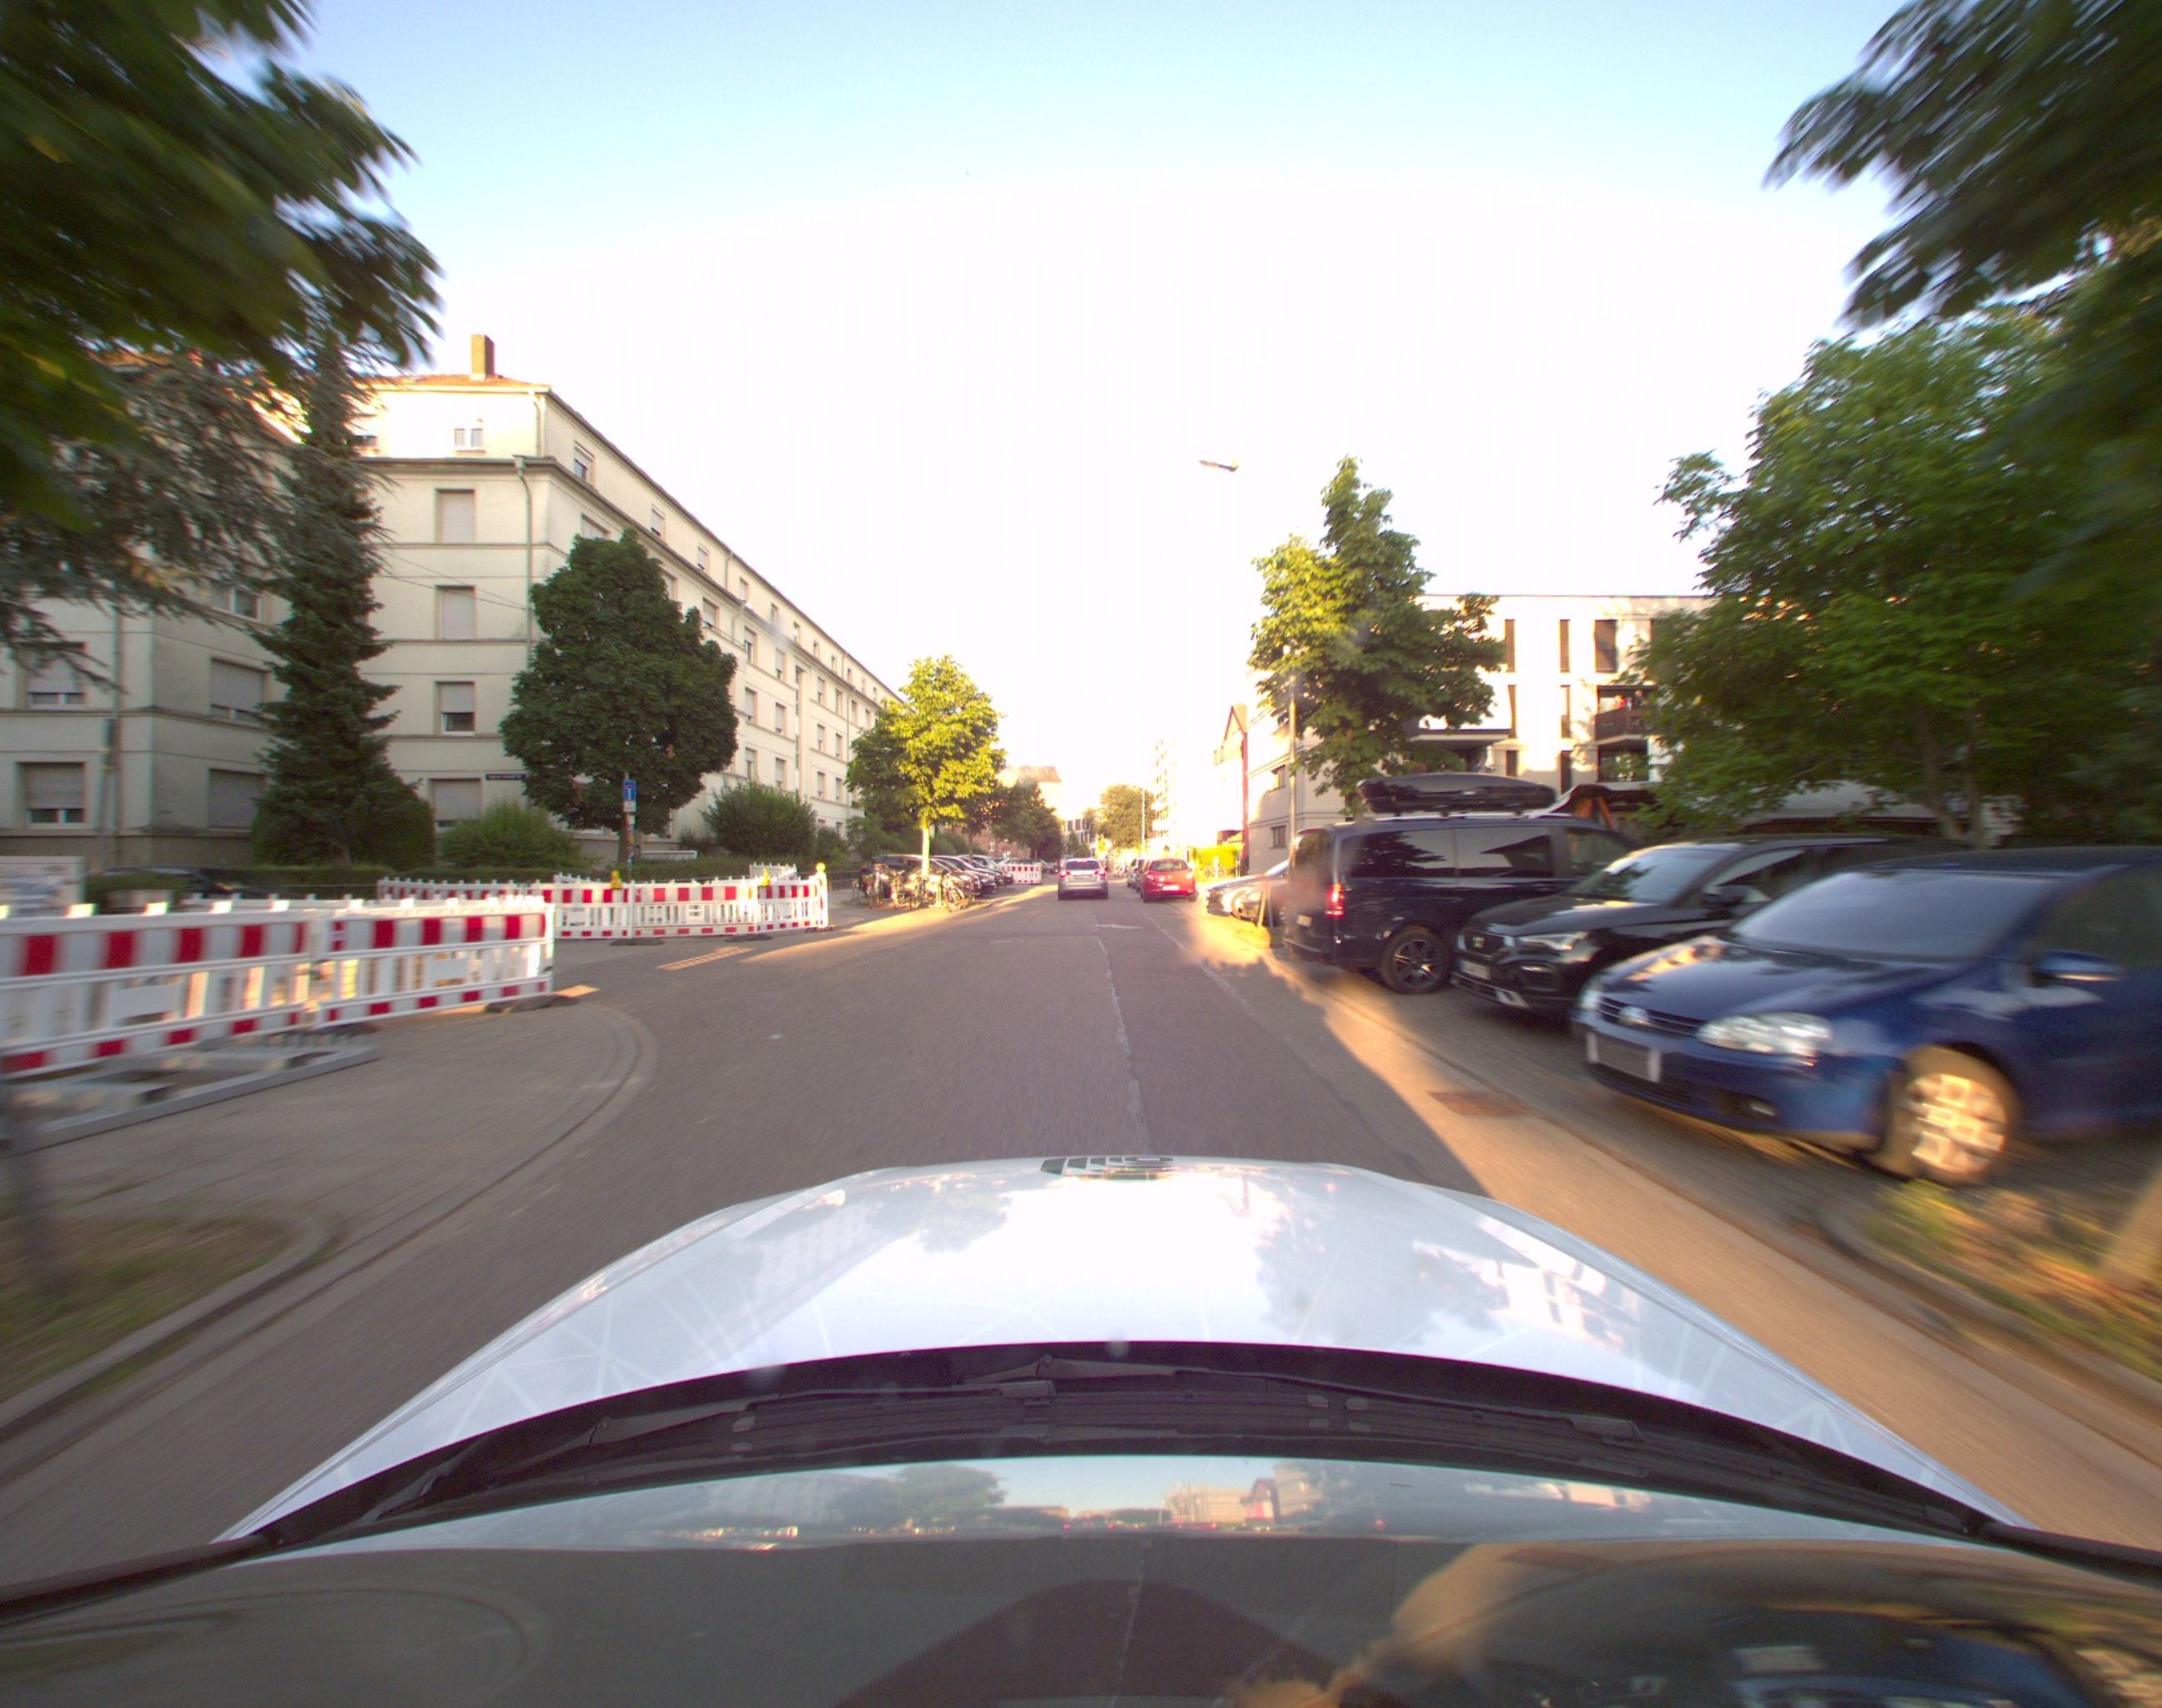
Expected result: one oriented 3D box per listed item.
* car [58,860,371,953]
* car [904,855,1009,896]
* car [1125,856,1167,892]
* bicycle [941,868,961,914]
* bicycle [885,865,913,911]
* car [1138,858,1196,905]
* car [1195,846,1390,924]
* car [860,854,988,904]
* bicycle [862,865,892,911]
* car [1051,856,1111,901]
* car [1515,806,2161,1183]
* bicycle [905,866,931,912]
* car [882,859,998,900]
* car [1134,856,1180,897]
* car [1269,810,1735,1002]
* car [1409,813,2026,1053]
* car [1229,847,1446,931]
[{"bbox_3d":[-15.708,0.909,14.943,3.698,1.589,1.760,0,0,-3],"label":"car"},{"bbox_3d":[-4.955,0.847,32.891,3.976,1.605,1.872,0,0,-2],"label":"car"},{"bbox_3d":[3.000,0.886,38.136,1.802,1.613,3.582,0,0,2],"label":"car"},{"bbox_3d":[-3.655,1.016,23.008,0.405,1.227,1.984,0,0,-4],"label":"bicycle"},{"bbox_3d":[-5.134,0.933,23.077,0.405,1.227,1.986,0,0,-2],"label":"bicycle"},{"bbox_3d":[2.871,0.895,27.740,1.723,1.483,3.559,0,0,2],"label":"car"},{"bbox_3d":[5.006,0.704,19.593,4.142,1.572,1.795,-3,0,-5],"label":"car"},{"bbox_3d":[-5.243,0.831,27.677,3.976,1.625,1.999,0,0,-2],"label":"car"},{"bbox_3d":[-5.779,0.938,23.137,0.405,1.227,1.986,0,0,-2],"label":"bicycle"},{"bbox_3d":[-0.065,0.842,29.200,1.804,1.488,3.993,-1,-1,-5],"label":"car"},{"bbox_3d":[4.883,0.618,4.617,3.980,1.651,1.762,0,0,-5],"label":"car"},{"bbox_3d":[-4.597,0.969,23.045,0.405,1.227,1.986,0,0,-2],"label":"bicycle"},{"bbox_3d":[-5.165,0.919,30.248,3.976,1.480,1.999,0,0,-2],"label":"car"},{"bbox_3d":[3.049,0.884,33.251,1.657,1.573,3.442,0,0,2],"label":"car"},{"bbox_3d":[4.777,0.554,9.759,4.545,2.023,2.099,0,0,-2],"label":"car"},{"bbox_3d":[5.317,0.597,7.253,3.976,1.768,1.999,-1,0,-2],"label":"car"},{"bbox_3d":[5.291,0.693,17.135,3.932,1.649,1.973,0,0,-5],"label":"car"}]
